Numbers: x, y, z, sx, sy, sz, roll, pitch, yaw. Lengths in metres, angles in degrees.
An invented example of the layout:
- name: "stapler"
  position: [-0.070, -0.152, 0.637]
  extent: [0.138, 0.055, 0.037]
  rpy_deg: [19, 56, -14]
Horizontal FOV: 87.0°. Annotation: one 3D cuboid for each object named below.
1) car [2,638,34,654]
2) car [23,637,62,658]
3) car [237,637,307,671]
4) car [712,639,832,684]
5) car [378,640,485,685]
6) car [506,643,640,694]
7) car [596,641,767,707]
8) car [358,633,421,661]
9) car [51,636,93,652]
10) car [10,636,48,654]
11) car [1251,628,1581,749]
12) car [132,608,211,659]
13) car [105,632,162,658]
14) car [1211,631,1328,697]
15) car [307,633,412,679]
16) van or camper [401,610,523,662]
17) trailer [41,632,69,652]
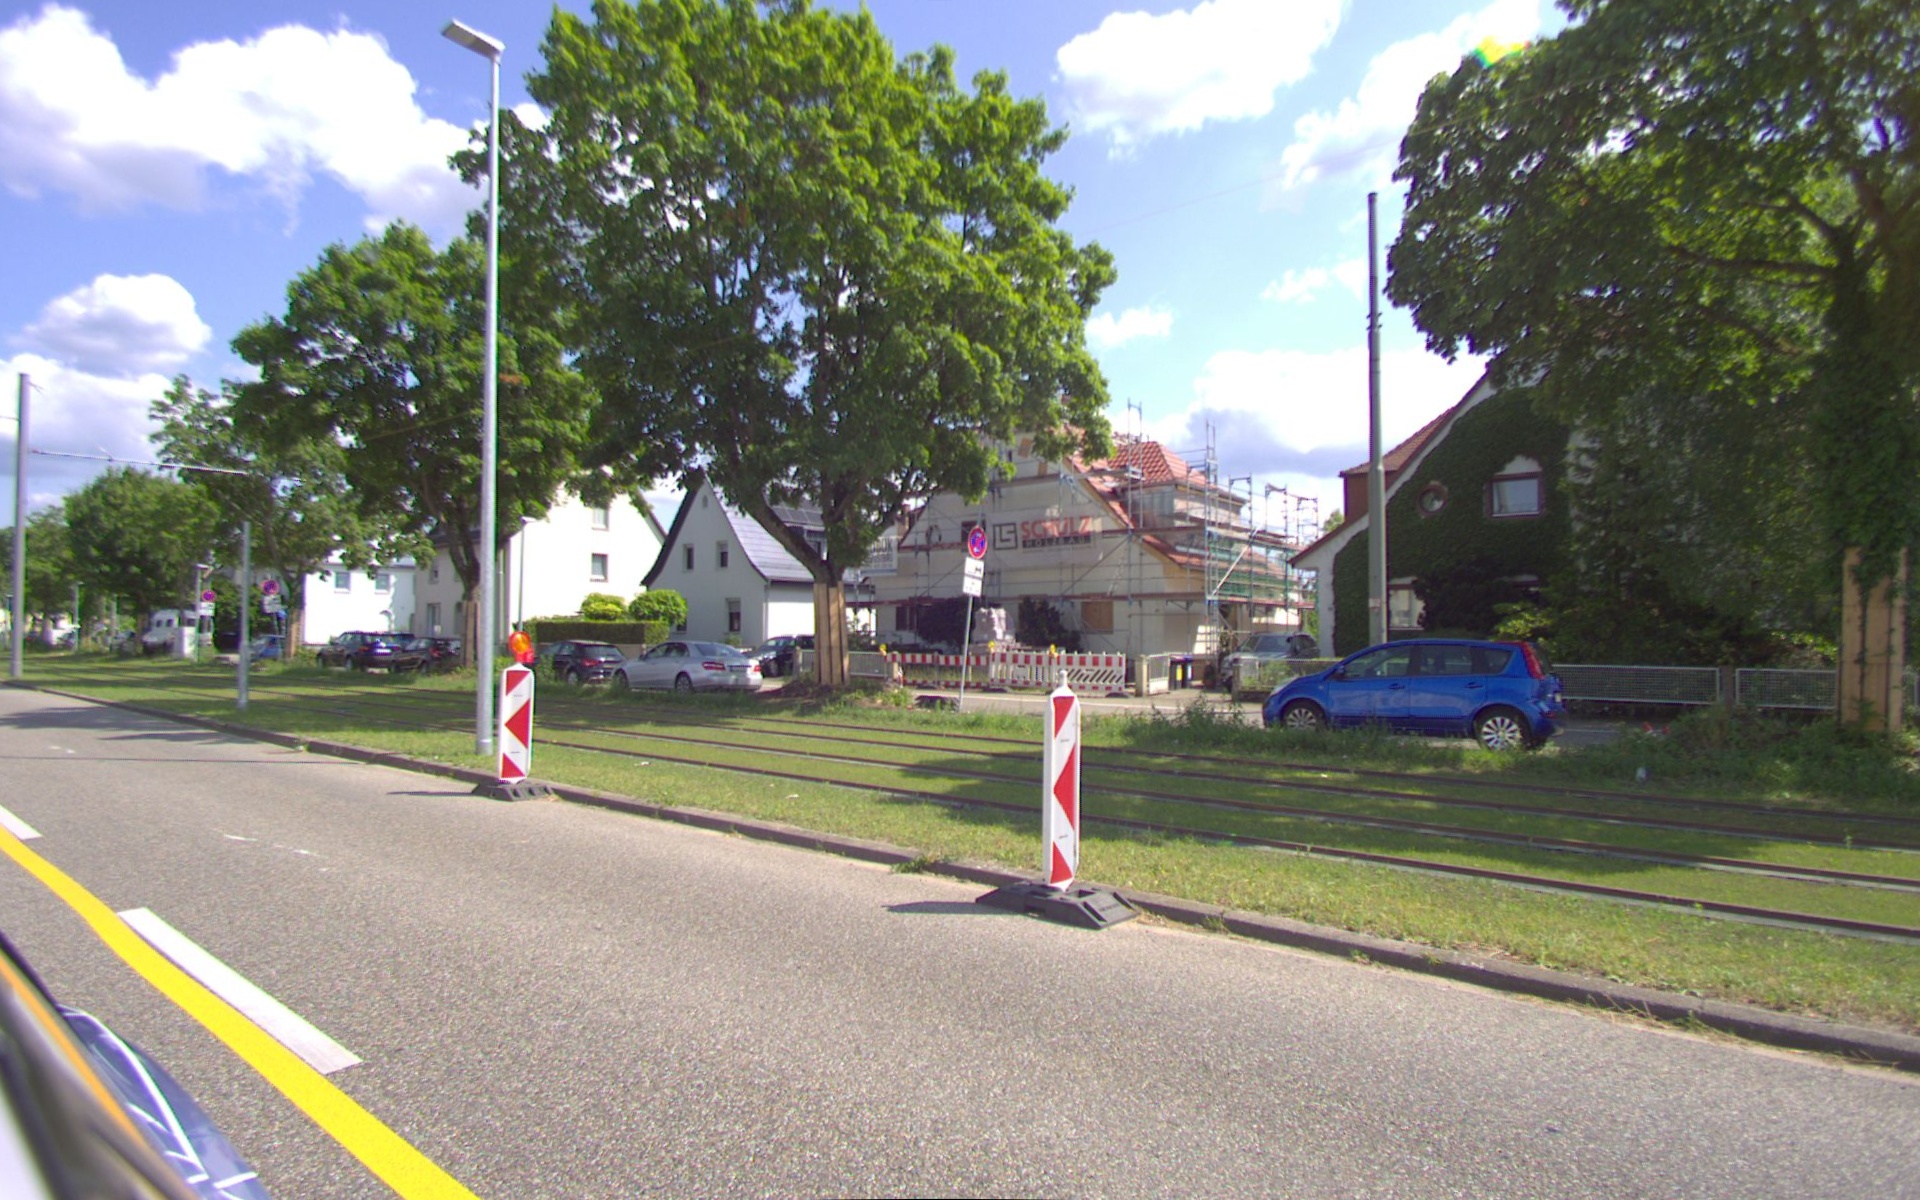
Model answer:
- name: "car"
  position: [-95.871, 4.687, 102.988]
  extent: [4.322, 1.551, 1.972]
  rpy_deg: [-1, -3, 43]
- name: "car"
  position: [-78.510, 4.066, 86.542]
  extent: [4.098, 1.590, 1.886]
  rpy_deg: [-3, -7, 41]
- name: "car"
  position: [-31.474, 2.470, 46.270]
  extent: [3.888, 1.447, 1.735]
  rpy_deg: [-1, -3, 42]
- name: "car"
  position: [-6.757, 2.181, 36.655]
  extent: [1.980, 1.412, 3.947]
  rpy_deg: [-1, -1, 40]
- name: "car"
  position: [-18.974, 2.225, 36.304]
  extent: [3.996, 1.450, 1.973]
  rpy_deg: [-1, -4, 40]
- name: "car"
  position: [-11.353, 1.992, 29.597]
  extent: [3.849, 1.328, 1.973]
  rpy_deg: [-1, -5, 40]
- name: "car"
  position: [-7.248, 1.842, 26.083]
  extent: [4.936, 1.494, 1.786]
  rpy_deg: [-1, -3, 40]
- name: "car"
  position: [-33.248, 2.727, 58.984]
  extent: [3.997, 1.589, 1.883]
  rpy_deg: [-1, -3, 40]
- name: "car"
  position: [-66.730, 3.315, 76.050]
  extent: [3.833, 1.101, 1.763]
  rpy_deg: [-1, -3, 40]
- name: "car"
  position: [-82.701, 4.013, 89.869]
  extent: [4.320, 1.551, 1.973]
  rpy_deg: [-1, -3, 41]
- name: "car"
  position: [6.498, 1.176, 14.578]
  extent: [3.995, 1.464, 1.974]
  rpy_deg: [-1, -3, 38]
- name: "car"
  position: [-44.993, 1.923, 57.699]
  extent: [6.453, 2.751, 1.974]
  rpy_deg: [-2, -4, 38]
- name: "car"
  position: [-51.982, 2.821, 63.628]
  extent: [4.483, 1.517, 1.973]
  rpy_deg: [-1, -3, 40]
- name: "car"
  position: [8.610, 1.736, 27.992]
  extent: [1.871, 1.697, 3.611]
  rpy_deg: [-1, -3, 39]
- name: "car"
  position: [-23.745, 2.187, 39.982]
  extent: [4.384, 1.704, 1.975]
  rpy_deg: [-1, -3, 37]
- name: "van or camper"
  position: [-32.543, 2.387, 66.304]
  extent: [2.632, 3.246, 6.660]
  rpy_deg: [-2, -3, 39]
- name: "trailer"
  position: [-71.030, 3.259, 79.437]
  extent: [2.280, 1.530, 1.286]
  rpy_deg: [-1, -3, 40]
